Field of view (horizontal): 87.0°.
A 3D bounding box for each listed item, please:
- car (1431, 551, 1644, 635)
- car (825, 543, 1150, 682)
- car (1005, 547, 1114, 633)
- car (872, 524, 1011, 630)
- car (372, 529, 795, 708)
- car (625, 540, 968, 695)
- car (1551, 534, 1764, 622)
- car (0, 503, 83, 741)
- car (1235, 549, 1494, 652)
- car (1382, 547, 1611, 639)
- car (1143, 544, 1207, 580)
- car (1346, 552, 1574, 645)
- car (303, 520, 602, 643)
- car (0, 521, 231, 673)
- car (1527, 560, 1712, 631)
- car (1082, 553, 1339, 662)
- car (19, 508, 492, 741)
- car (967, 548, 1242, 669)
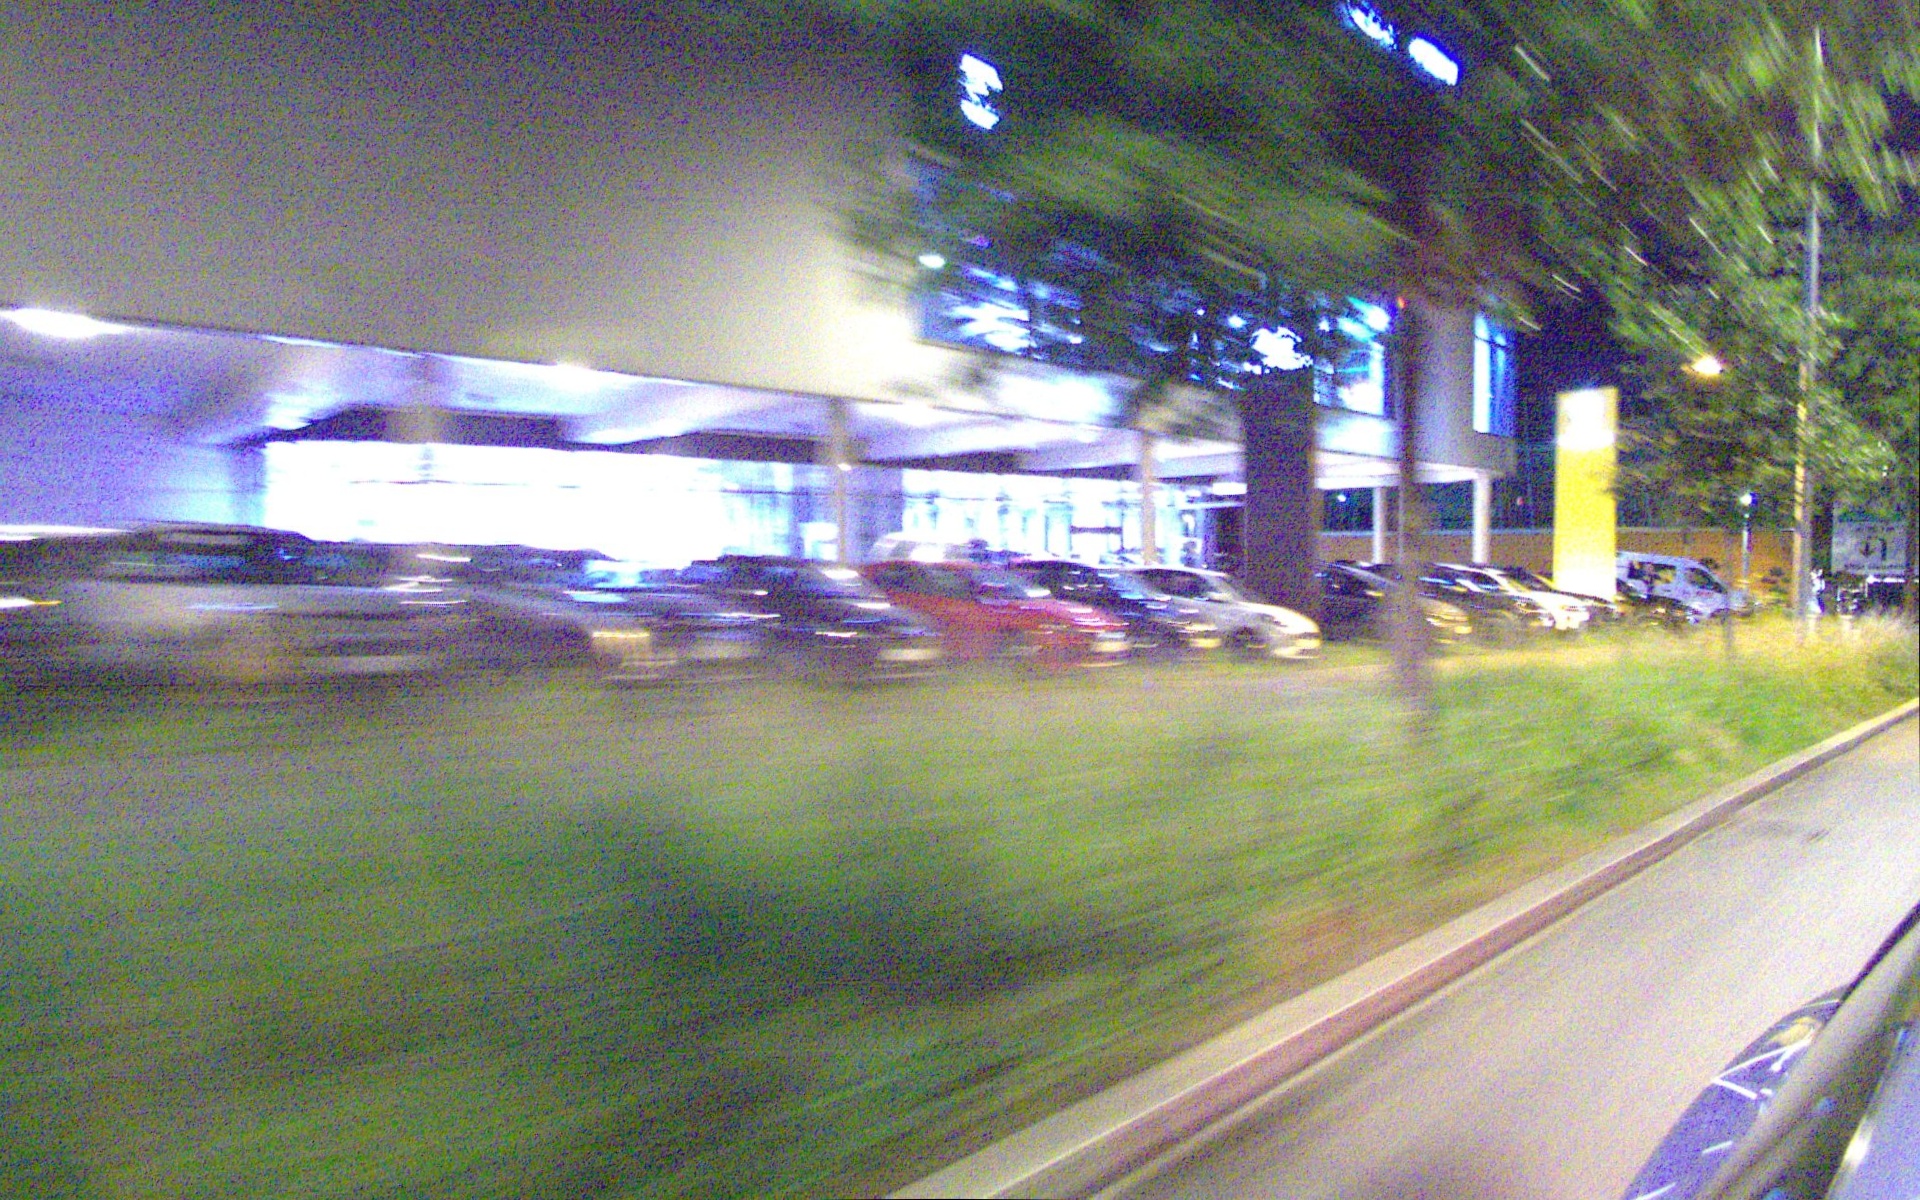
[{"bbox_3d":[14.904,-0.235,26.243,4.456,1.832,1.971,5,3,40],"label":"car"},{"bbox_3d":[0.302,0.069,13.669,4.012,1.390,1.803,6,4,35],"label":"car"},{"bbox_3d":[2.174,-0.275,21.164,1.960,1.548,3.990,2,3,9],"label":"car"},{"bbox_3d":[-0.244,-0.485,21.124,1.808,1.942,4.809,0,1,13],"label":"car"},{"bbox_3d":[-3.816,0.087,10.172,3.965,1.409,1.808,4,1,29],"label":"car"},{"bbox_3d":[-2.021,0.088,11.844,3.984,1.397,1.783,5,4,40],"label":"car"},{"bbox_3d":[25.099,-0.866,36.735,6.000,2.559,2.256,8,5,34],"label":"car"},{"bbox_3d":[-7.646,0.124,6.634,3.578,1.451,1.664,1,1,27],"label":"car"},{"bbox_3d":[8.052,-0.087,20.445,4.460,1.565,1.744,8,7,41],"label":"car"},{"bbox_3d":[12.814,-0.242,24.310,4.458,1.707,1.971,8,5,40],"label":"car"},{"bbox_3d":[10.738,-1.870,50.318,1.981,1.682,4.624,1,2,27],"label":"car"},{"bbox_3d":[10.859,-0.094,22.141,4.078,1.587,1.828,7,5,40],"label":"car"},{"bbox_3d":[-6.879,-0.276,14.171,1.604,1.482,3.775,1,1,17],"label":"car"},{"bbox_3d":[-9.948,-0.058,11.183,1.299,1.505,3.065,1,1,9],"label":"car"},{"bbox_3d":[18.895,-0.188,29.071,4.198,1.683,1.933,5,4,40],"label":"car"},{"bbox_3d":[4.147,0.053,17.018,3.794,1.470,1.695,5,4,37],"label":"car"},{"bbox_3d":[-5.969,0.052,8.483,3.969,1.488,1.813,4,3,31],"label":"car"},{"bbox_3d":[2.141,0.038,15.440,3.761,1.395,1.694,7,5,37],"label":"car"}]
